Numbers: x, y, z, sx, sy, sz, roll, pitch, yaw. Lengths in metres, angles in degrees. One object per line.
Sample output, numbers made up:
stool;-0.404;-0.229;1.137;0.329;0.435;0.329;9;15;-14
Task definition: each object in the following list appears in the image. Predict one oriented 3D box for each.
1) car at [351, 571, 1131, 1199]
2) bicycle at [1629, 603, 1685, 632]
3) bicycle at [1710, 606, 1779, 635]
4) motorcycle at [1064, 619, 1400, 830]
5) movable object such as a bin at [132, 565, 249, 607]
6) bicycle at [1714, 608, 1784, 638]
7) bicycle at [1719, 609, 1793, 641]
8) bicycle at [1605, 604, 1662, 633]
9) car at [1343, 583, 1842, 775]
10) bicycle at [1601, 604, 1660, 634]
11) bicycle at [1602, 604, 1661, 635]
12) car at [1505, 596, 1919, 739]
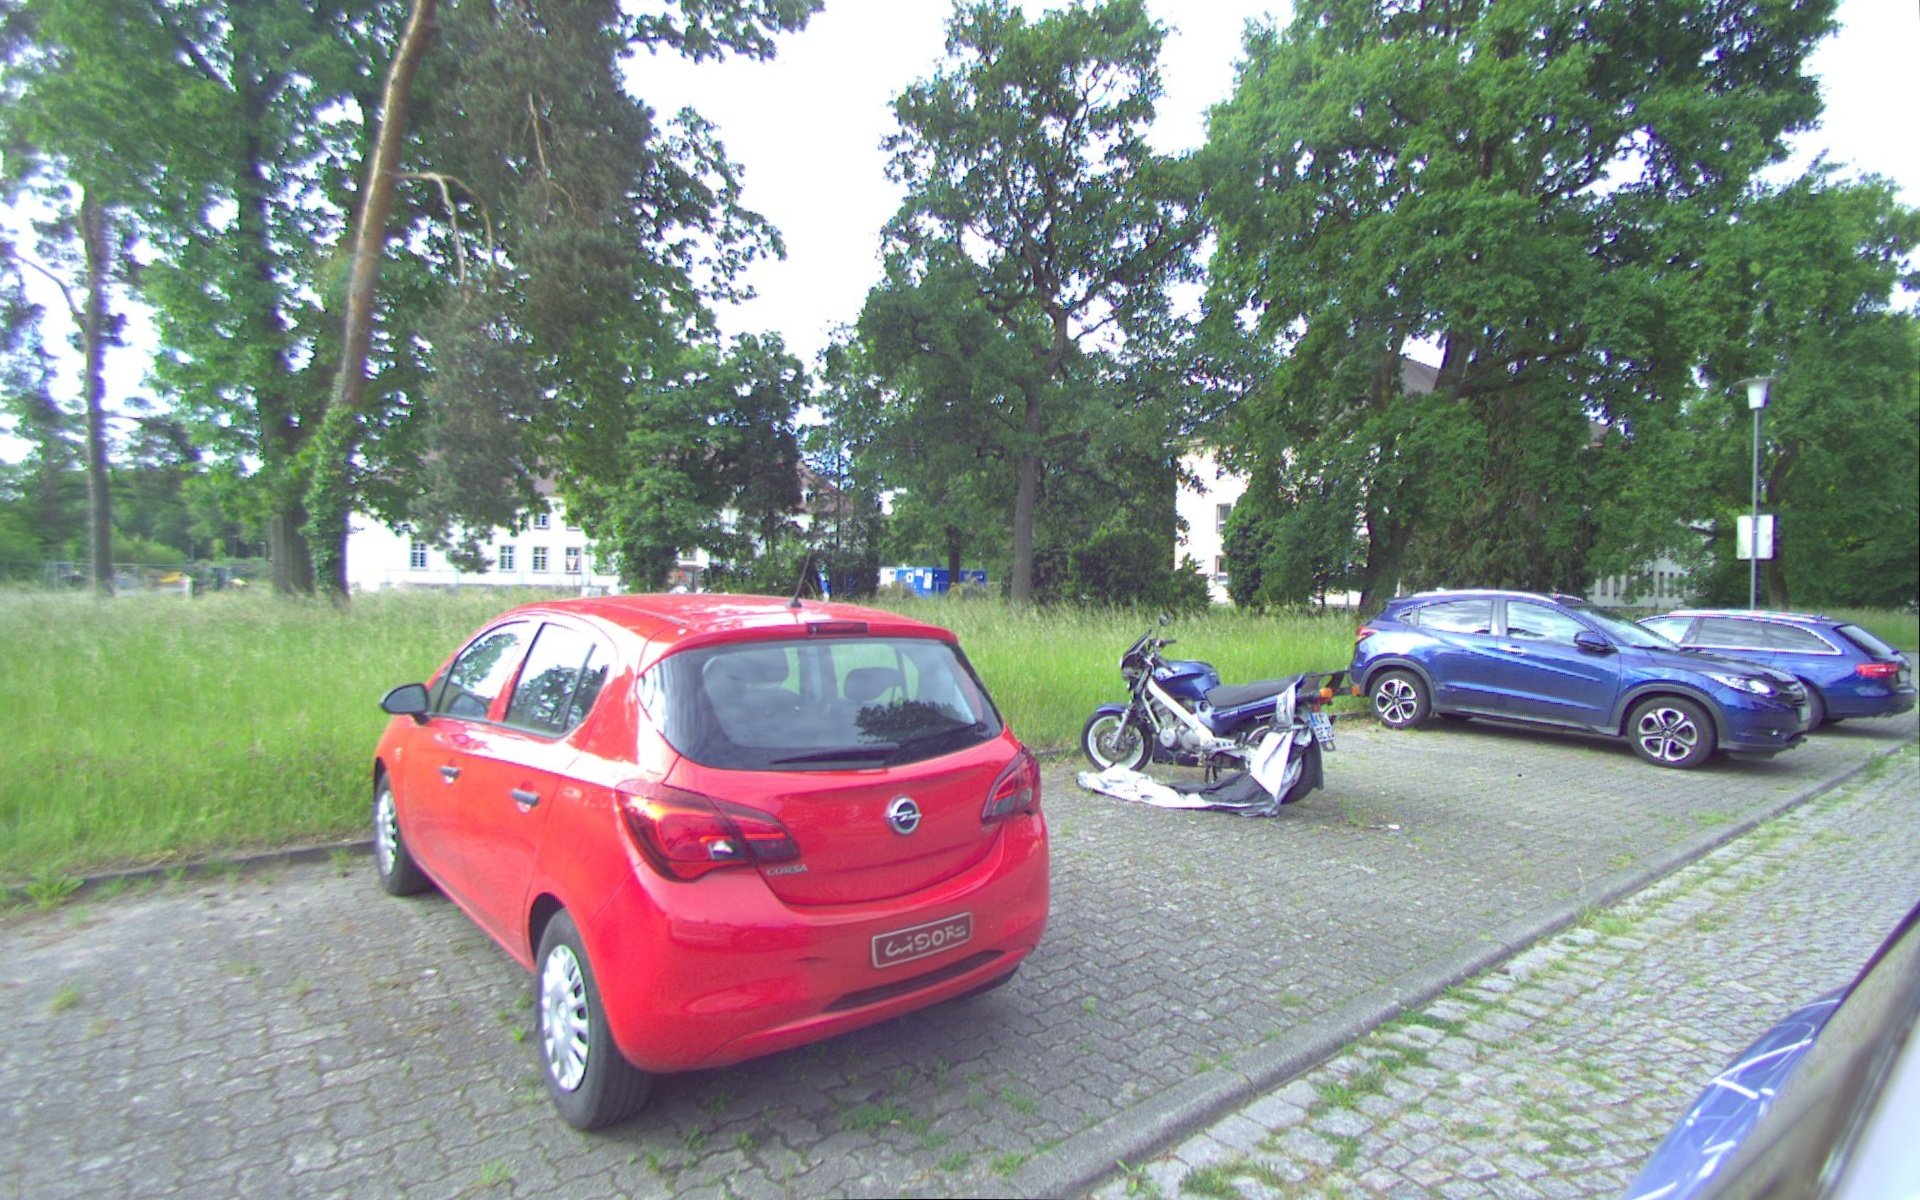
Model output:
car;-1.311;0.661;4.413;1.748;1.478;3.835;0;2;-40
bicycle;28.994;0.720;42.143;1.840;1.137;0.616;0;0;28
bicycle;30.231;0.779;39.032;2.010;1.090;0.616;0;0;28
motorcycle;1.908;0.803;7.476;0.782;1.200;2.331;0;2;-42
movable object such as a bin;-50.326;-0.887;66.301;5.857;2.688;2.178;0;0;-6
bicycle;29.021;0.836;37.245;1.951;1.090;0.583;0;0;24
bicycle;28.165;0.877;35.839;1.951;1.090;0.583;0;0;24
bicycle;27.205;0.735;40.888;1.840;1.137;0.616;0;0;28
car;6.471;0.630;10.771;1.761;1.591;4.171;-1;2;-39
bicycle;26.191;0.741;39.553;1.840;1.137;0.616;0;0;28
bicycle;25.862;0.743;39.009;1.840;1.137;0.616;0;0;28
car;10.079;0.747;13.646;1.751;1.439;4.484;0;2;-36
